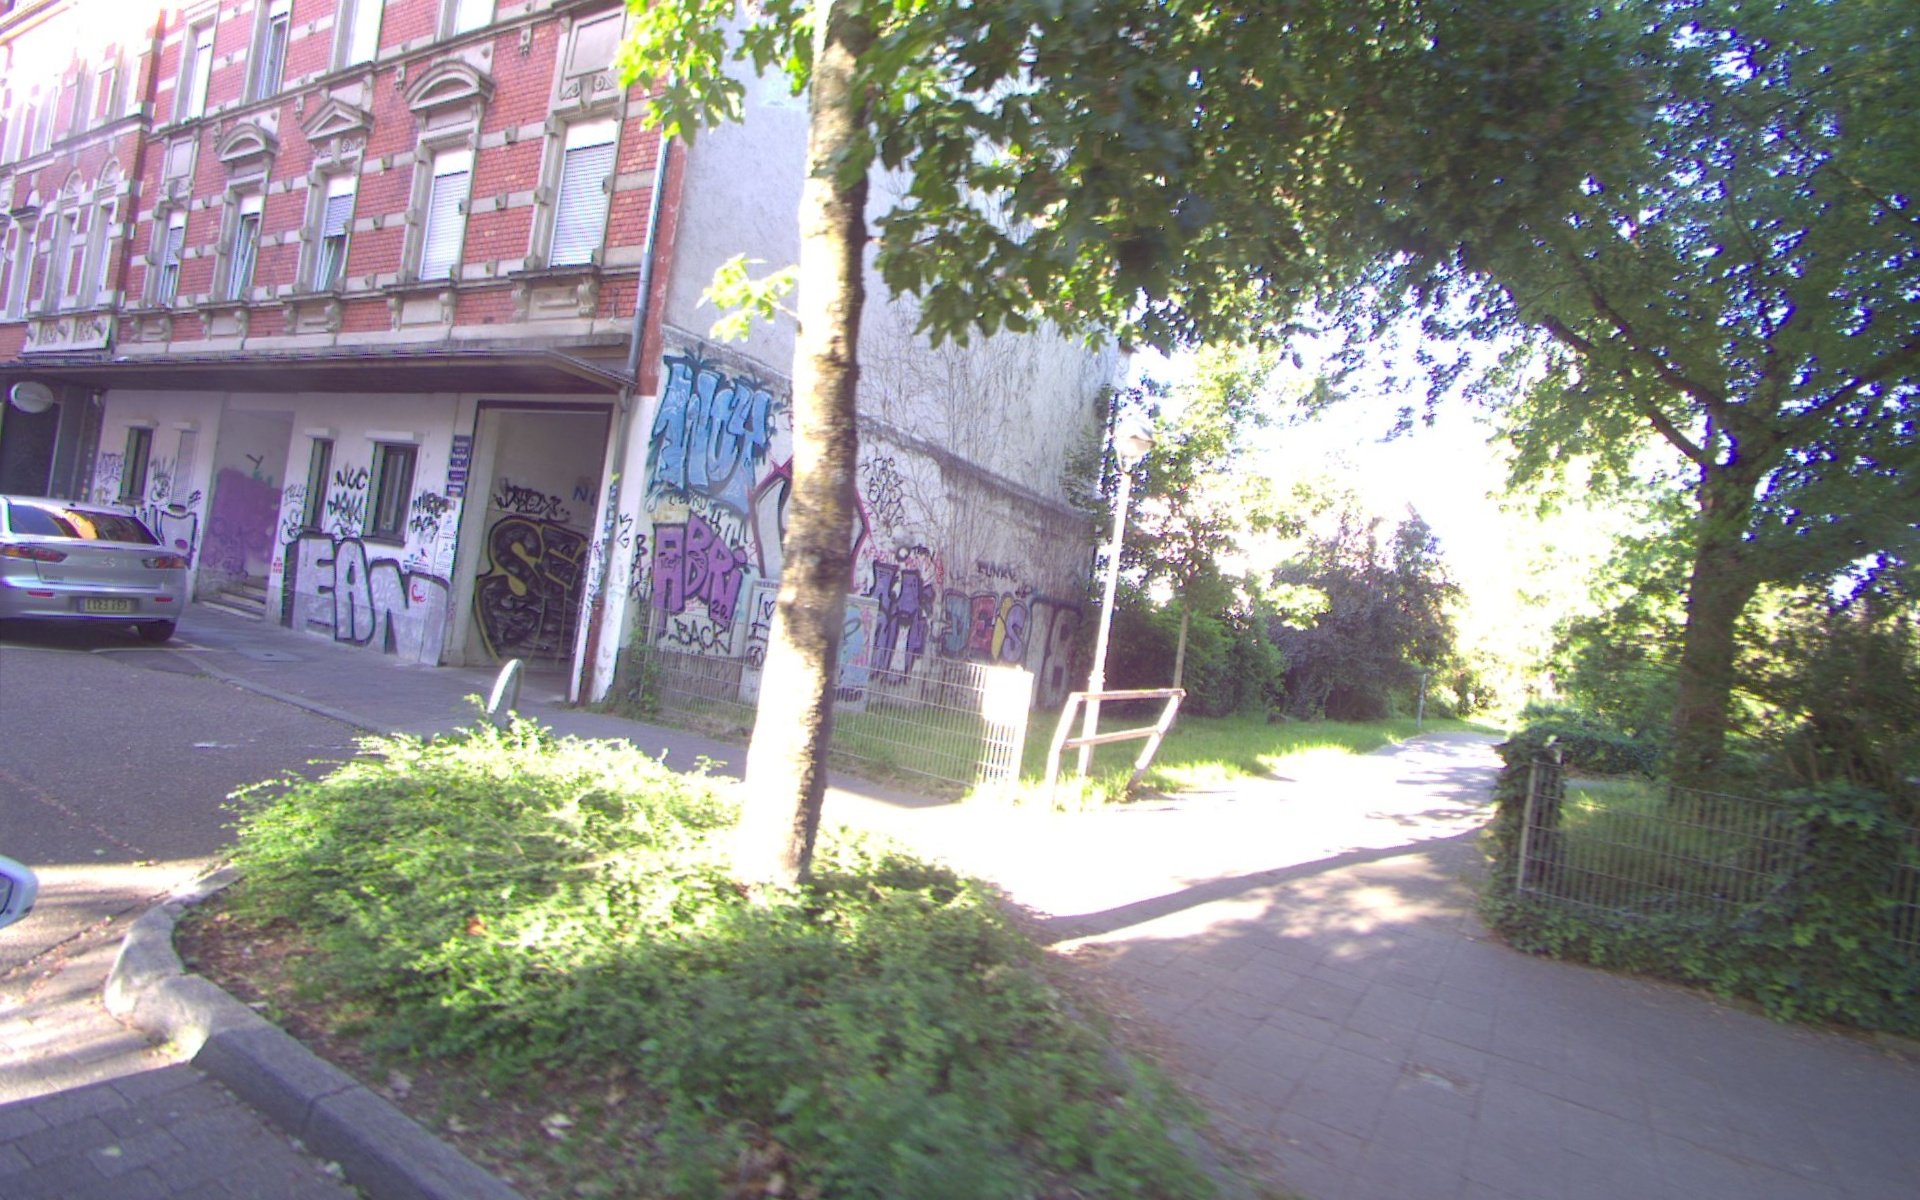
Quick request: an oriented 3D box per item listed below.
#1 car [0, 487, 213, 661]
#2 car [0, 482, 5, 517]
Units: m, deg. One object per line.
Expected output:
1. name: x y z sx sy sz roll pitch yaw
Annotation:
1. car: -10.719 -0.438 11.645 4.325 1.580 1.725 8 -2 32
2. car: -15.838 -1.137 14.776 3.806 1.675 1.643 7 -1 33
